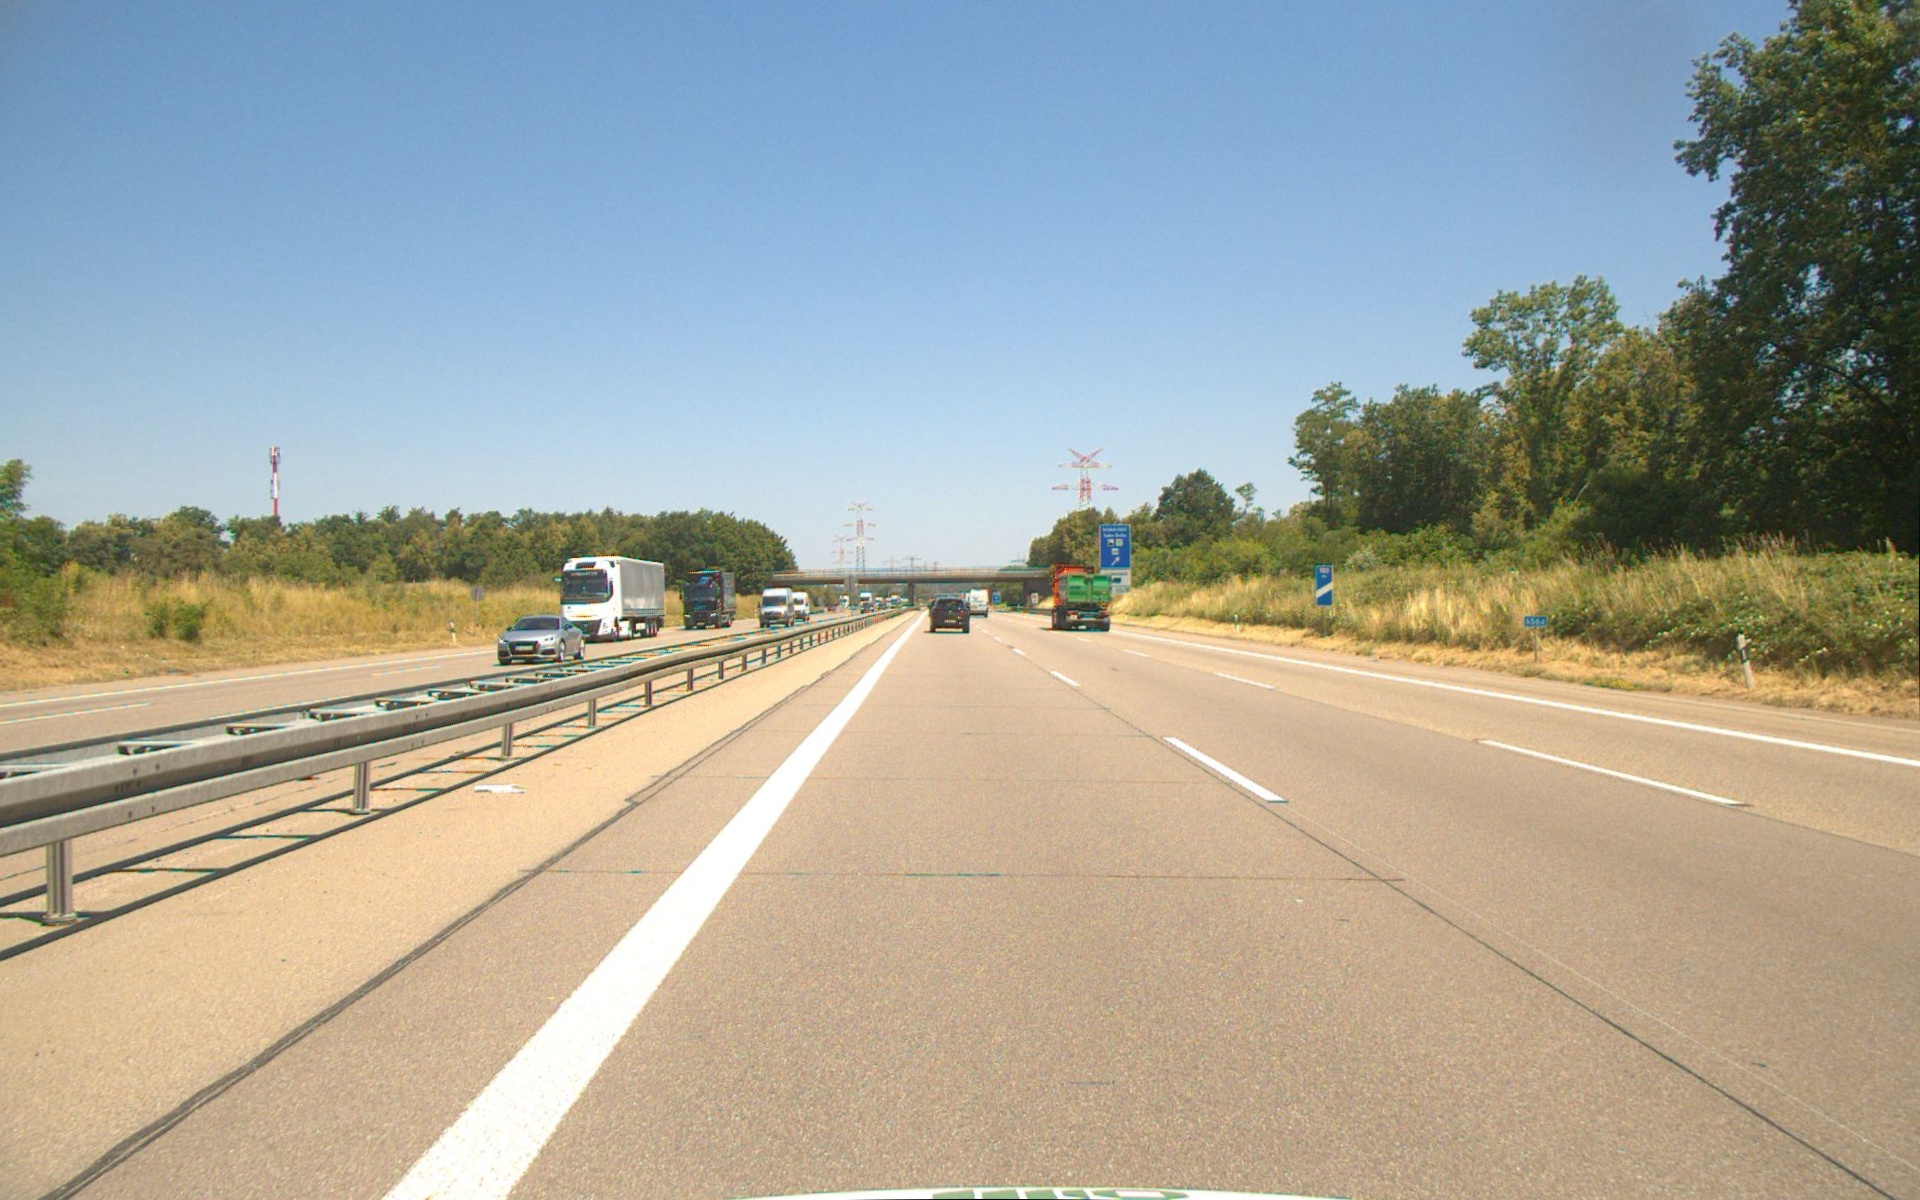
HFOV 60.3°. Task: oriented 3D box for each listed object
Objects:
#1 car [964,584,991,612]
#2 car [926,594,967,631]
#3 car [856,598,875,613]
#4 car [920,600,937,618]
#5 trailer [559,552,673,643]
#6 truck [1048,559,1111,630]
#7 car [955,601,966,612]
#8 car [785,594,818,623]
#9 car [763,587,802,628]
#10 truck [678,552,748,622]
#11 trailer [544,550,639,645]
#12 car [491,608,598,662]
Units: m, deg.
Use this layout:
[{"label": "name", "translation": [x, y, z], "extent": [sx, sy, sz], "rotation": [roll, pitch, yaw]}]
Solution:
[{"label": "car", "translation": [1.818, -0.186, 171.032], "extent": [2.568, 2.807, 6.095], "rotation": [1, 0, -1]}, {"label": "car", "translation": [-0.692, 0.611, 82.135], "extent": [1.953, 1.780, 3.999], "rotation": [1, 0, -1]}, {"label": "car", "translation": [-13.316, 0.739, 233.583], "extent": [2.316, 1.928, 5.223], "rotation": [-2, 0, -1]}, {"label": "car", "translation": [-3.270, 0.903, 171.412], "extent": [1.758, 1.780, 3.999], "rotation": [1, 0, -1]}, {"label": "trailer", "translation": [-17.913, -0.101, 87.295], "extent": [3.091, 4.271, 14.123], "rotation": [-3, 0, -1]}, {"label": "truck", "translation": [6.968, -0.306, 98.097], "extent": [2.626, 3.864, 12.476], "rotation": [1, 0, -1]}, {"label": "car", "translation": [0.044, 1.081, 258.160], "extent": [1.711, 1.662, 4.003], "rotation": [1, 0, -1]}, {"label": "car", "translation": [-14.242, 0.763, 149.227], "extent": [2.316, 2.491, 7.131], "rotation": [-2, 0, -1]}, {"label": "car", "translation": [-12.142, 0.506, 113.319], "extent": [1.953, 2.615, 6.389], "rotation": [-2, 0, -1]}, {"label": "truck", "translation": [-18.094, -0.898, 122.027], "extent": [3.308, 4.705, 12.184], "rotation": [-3, 0, -1]}, {"label": "trailer", "translation": [-17.798, -0.107, 80.244], "extent": [3.091, 4.271, 6.324], "rotation": [-3, 0, -1]}, {"label": "car", "translation": [-12.254, 0.993, 49.155], "extent": [1.922, 1.454, 5.288], "rotation": [-2, 0, -1]}]
